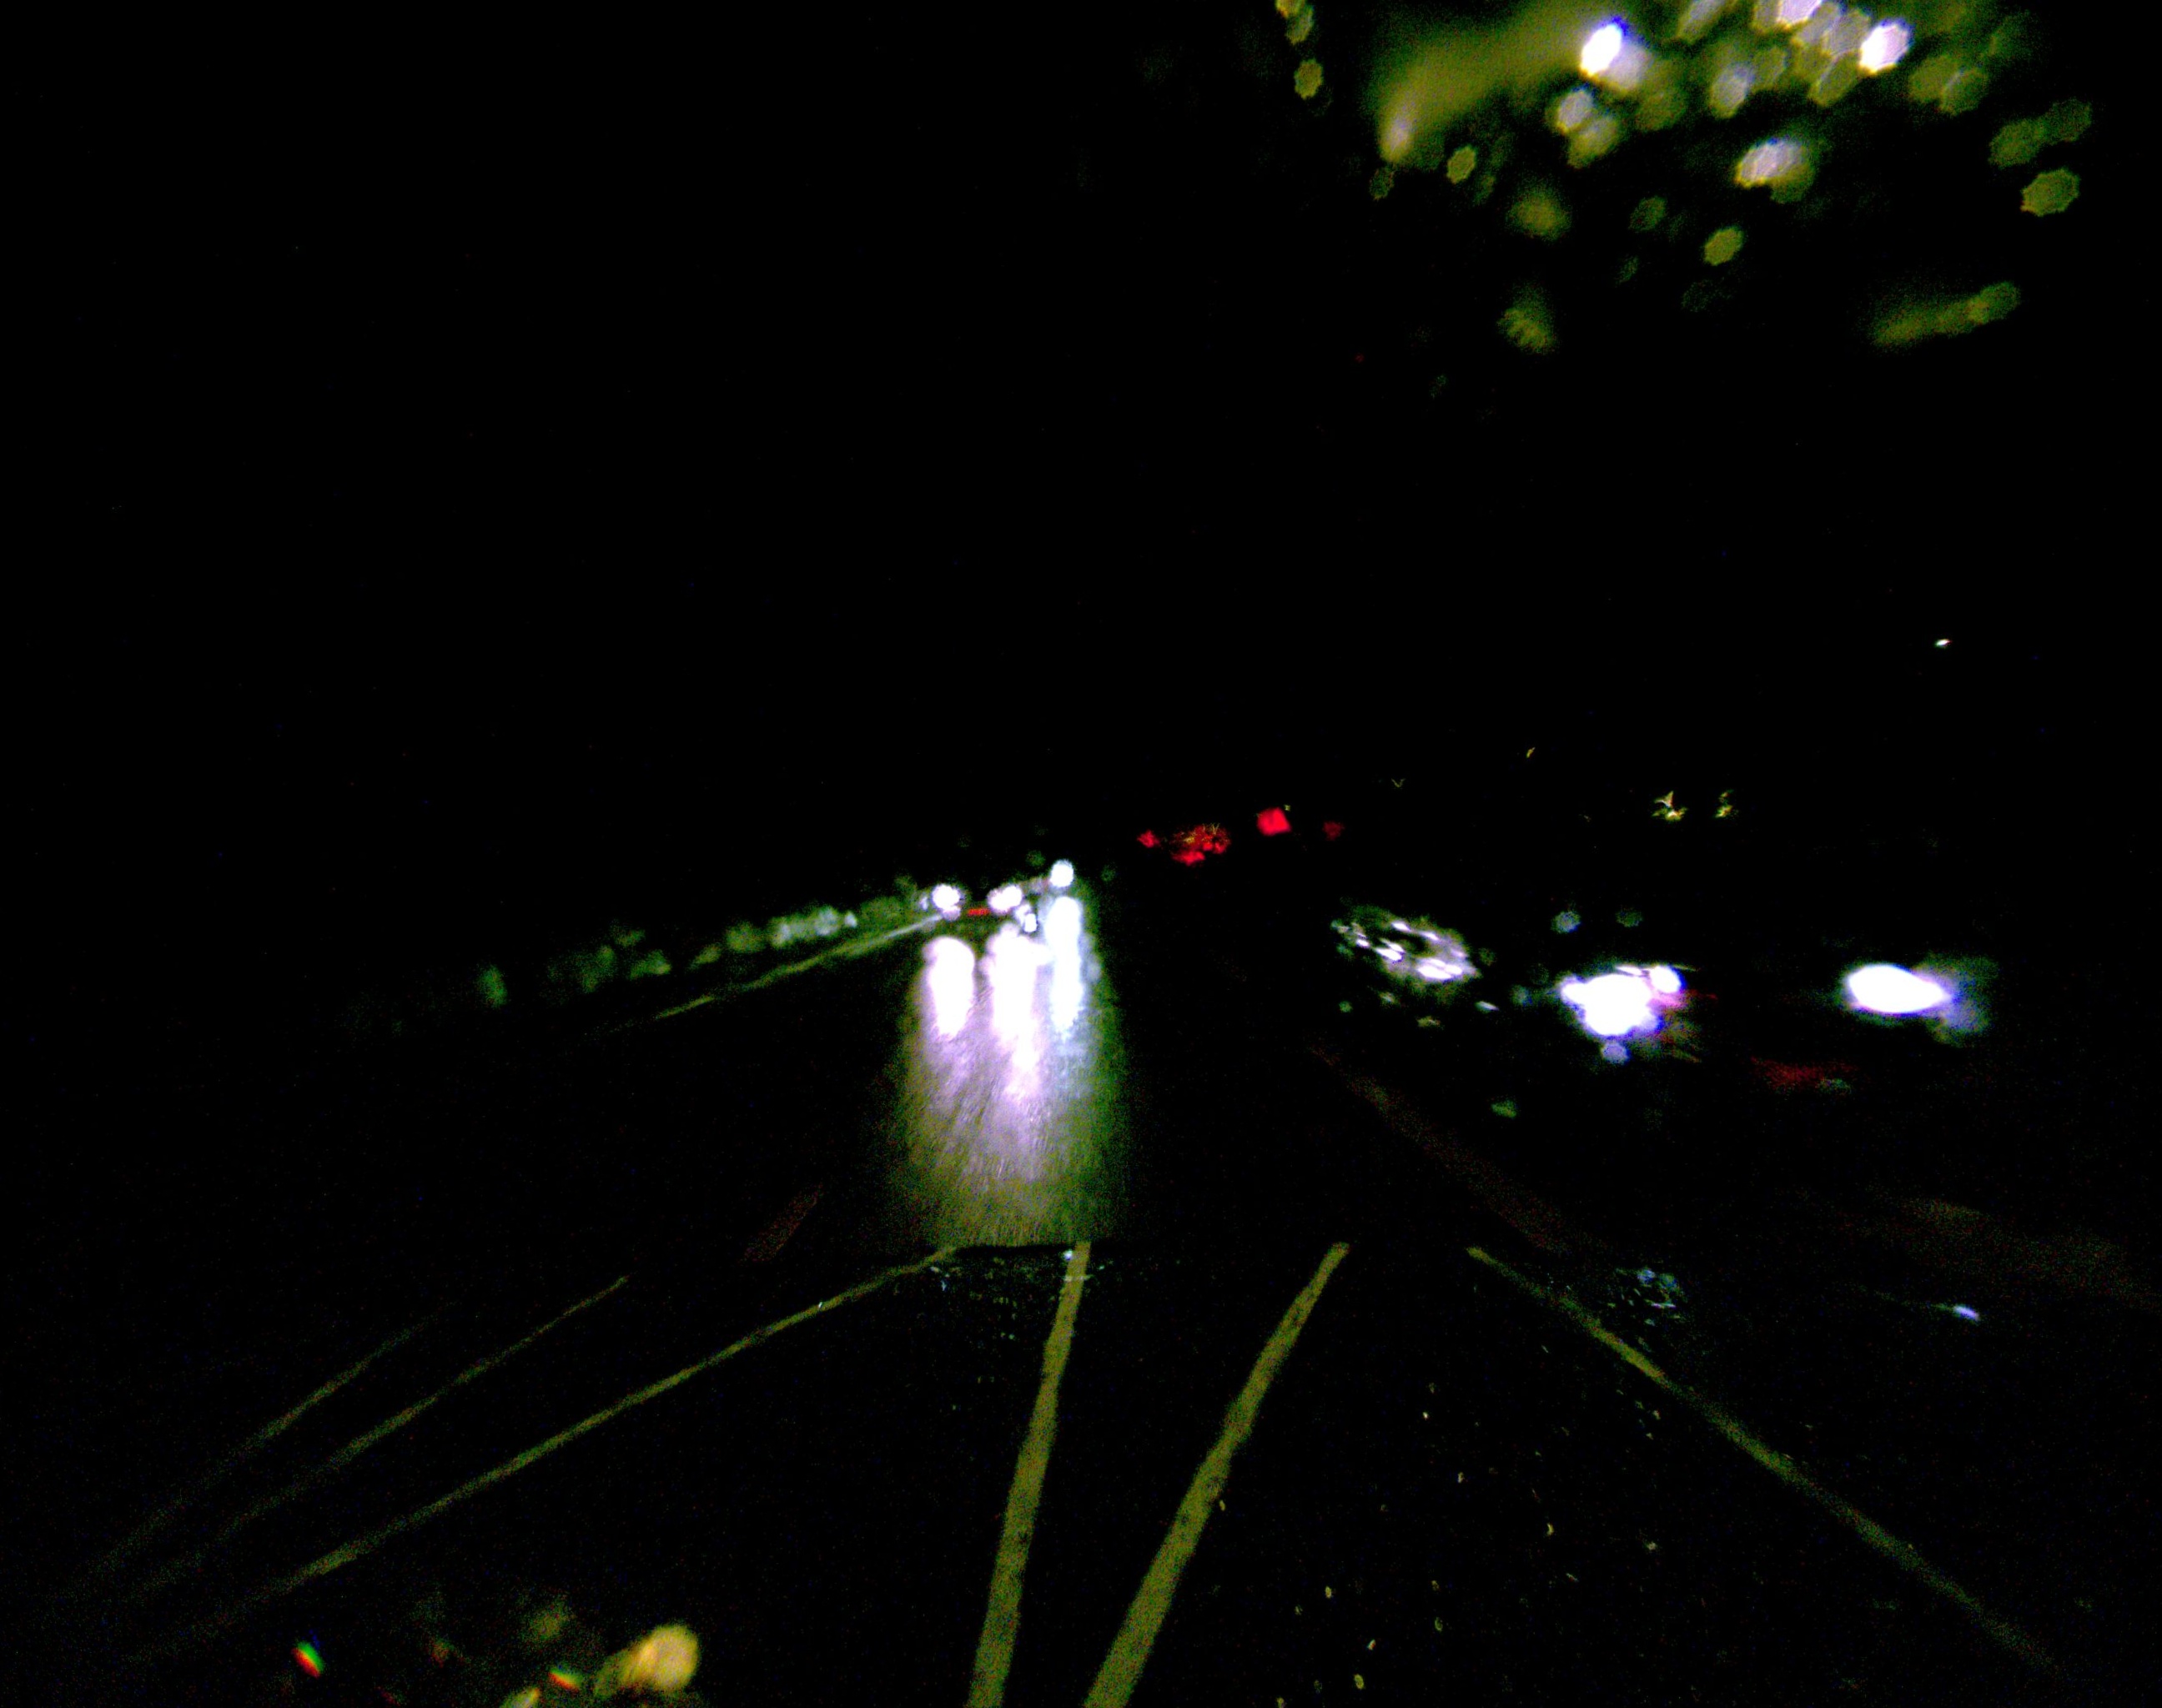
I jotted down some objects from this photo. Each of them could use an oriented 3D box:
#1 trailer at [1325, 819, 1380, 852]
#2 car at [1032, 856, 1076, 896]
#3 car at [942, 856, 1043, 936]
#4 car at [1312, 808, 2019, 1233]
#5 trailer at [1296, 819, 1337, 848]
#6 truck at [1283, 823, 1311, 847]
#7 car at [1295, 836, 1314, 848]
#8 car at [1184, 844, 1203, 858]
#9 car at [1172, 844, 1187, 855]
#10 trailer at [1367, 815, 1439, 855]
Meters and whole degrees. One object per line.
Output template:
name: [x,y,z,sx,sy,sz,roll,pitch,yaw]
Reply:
trailer: [43.717,-3.027,123.187,3.980,4.583,15.516,-6,1,4]
car: [-1.187,0.962,35.136,1.788,1.638,4.436,-3,0,0]
car: [-2.054,0.933,18.807,1.790,1.684,4.219,-2,0,2]
car: [3.140,0.717,5.443,1.788,1.771,4.437,-2,0,3]
trailer: [46.035,-4.016,149.177,3.980,4.984,14.836,-6,1,4]
truck: [47.104,-4.177,166.277,3.447,4.583,10.213,-6,1,4]
car: [35.263,-1.866,119.973,1.790,1.684,4.219,-4,0,3]
car: [14.013,-0.346,94.839,1.765,1.632,4.652,-3,0,1]
car: [14.775,-0.653,114.247,1.806,1.579,4.030,-3,1,2]
trailer: [42.578,-2.567,101.196,3.980,4.583,14.248,-6,1,4]
